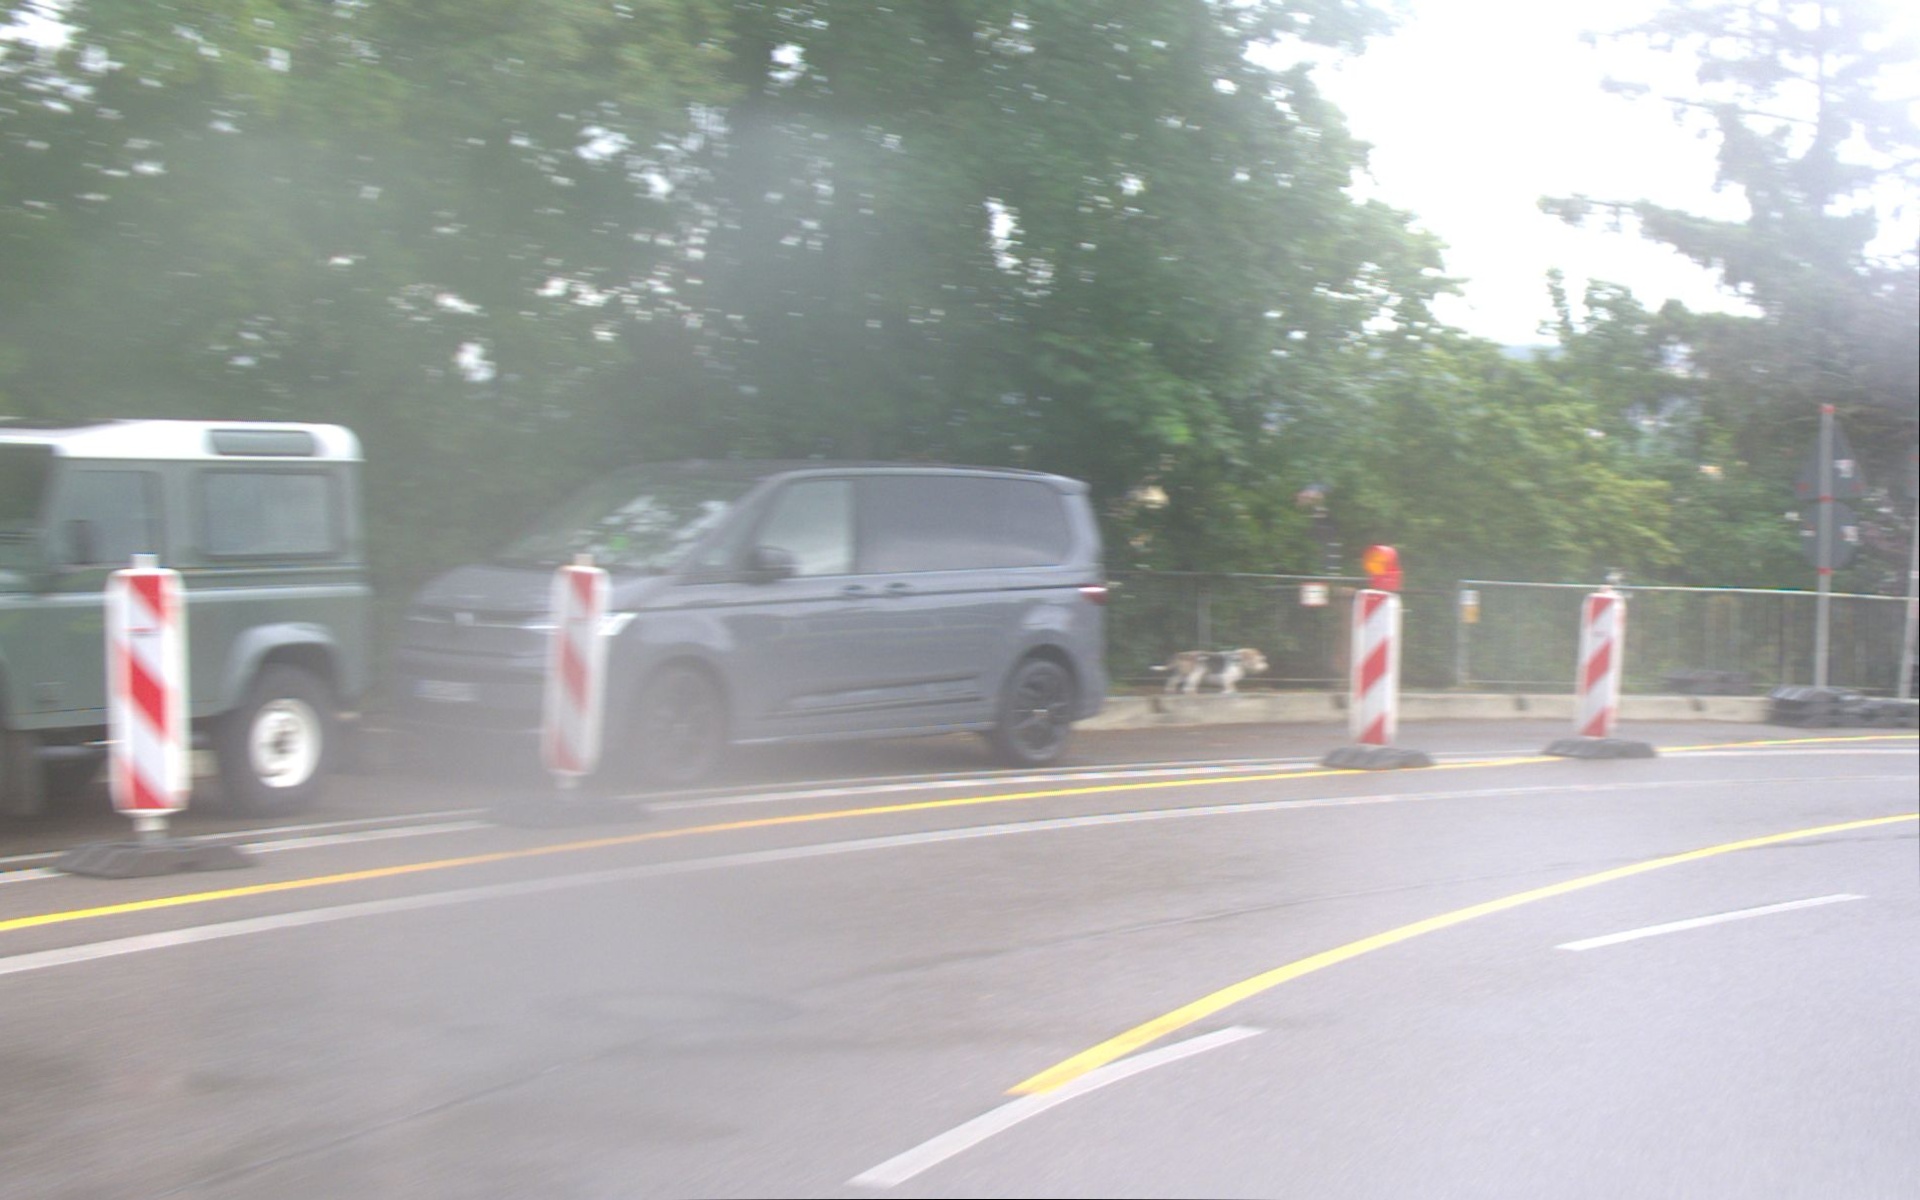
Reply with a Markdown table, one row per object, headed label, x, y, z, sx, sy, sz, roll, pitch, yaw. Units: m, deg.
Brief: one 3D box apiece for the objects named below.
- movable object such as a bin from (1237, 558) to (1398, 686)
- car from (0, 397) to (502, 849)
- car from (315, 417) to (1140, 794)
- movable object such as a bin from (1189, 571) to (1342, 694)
| label | x | y | z | sx | sy | sz | roll | pitch | yaw |
| --- | --- | --- | --- | --- | --- | --- | --- | --- | --- |
| movable object such as a bin | 3.207 | 0.194 | 30.905 | 1.024 | 1.103 | 0.989 | 2 | 0 | -30 |
| car | -4.429 | 0.045 | 16.979 | 1.868 | 2.006 | 4.806 | 3 | 2 | 27 |
| car | -1.295 | 0.026 | 21.089 | 1.999 | 2.006 | 4.936 | 4 | 2 | 43 |
| movable object such as a bin | 2.833 | 0.293 | 31.907 | 1.024 | 1.103 | 0.989 | 0 | 1 | -30 |
